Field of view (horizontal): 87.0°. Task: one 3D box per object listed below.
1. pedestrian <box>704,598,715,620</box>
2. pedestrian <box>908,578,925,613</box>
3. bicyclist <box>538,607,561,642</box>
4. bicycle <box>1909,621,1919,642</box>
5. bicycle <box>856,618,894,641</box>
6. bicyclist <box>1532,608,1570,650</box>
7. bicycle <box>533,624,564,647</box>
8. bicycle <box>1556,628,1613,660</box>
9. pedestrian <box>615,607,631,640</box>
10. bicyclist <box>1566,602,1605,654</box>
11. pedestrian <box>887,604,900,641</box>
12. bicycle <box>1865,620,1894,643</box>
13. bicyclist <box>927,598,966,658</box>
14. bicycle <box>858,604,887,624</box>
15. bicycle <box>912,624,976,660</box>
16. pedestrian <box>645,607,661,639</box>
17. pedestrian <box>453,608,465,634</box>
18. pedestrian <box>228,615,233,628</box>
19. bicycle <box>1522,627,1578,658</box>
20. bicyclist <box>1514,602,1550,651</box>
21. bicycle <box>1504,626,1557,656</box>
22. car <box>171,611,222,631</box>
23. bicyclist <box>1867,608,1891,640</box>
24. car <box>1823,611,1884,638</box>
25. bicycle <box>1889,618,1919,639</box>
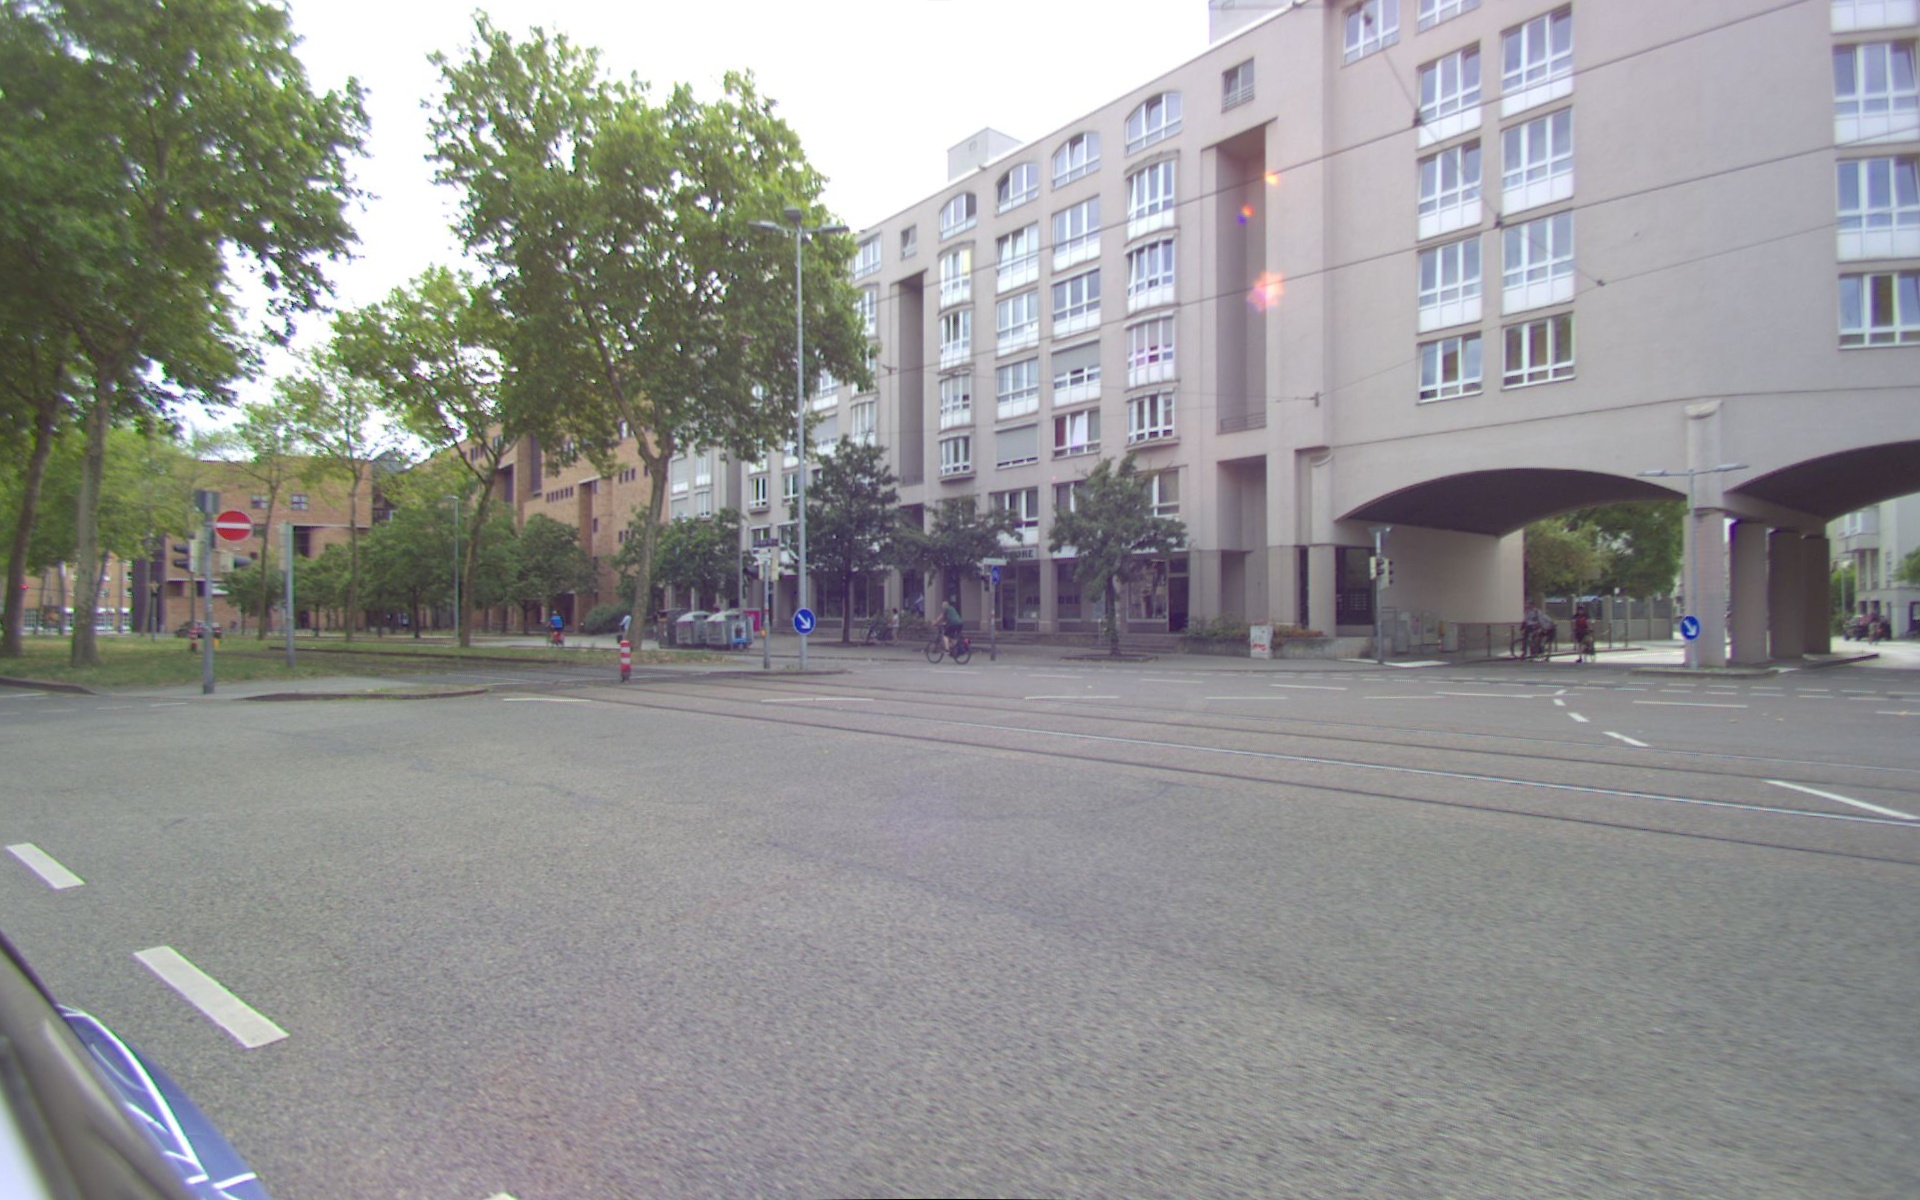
[{"bbox_3d":[-15.436,0.568,62.330,0.451,1.333,0.555,0,-1,-40],"label":"pedestrian"},{"bbox_3d":[-2.031,-0.204,47.344,0.563,1.618,0.549,0,-1,-42],"label":"pedestrian"},{"bbox_3d":[-20.097,1.210,49.529,0.953,1.685,0.682,-1,-1,42],"label":"bicyclist"},{"bbox_3d":[50.287,1.619,52.023,2.098,1.056,0.630,0,-1,30],"label":"bicycle"},{"bbox_3d":[-3.549,1.230,42.181,1.607,0.950,0.441,0,-1,-39],"label":"bicycle"},{"bbox_3d":[18.717,0.901,32.060,0.868,1.314,0.769,0,-1,-38],"label":"bicyclist"},{"bbox_3d":[-20.199,1.733,49.632,1.877,1.100,0.683,-1,-1,43],"label":"bicycle"},{"bbox_3d":[19.077,1.320,30.891,2.151,0.918,0.767,0,-1,-38],"label":"bicycle"},{"bbox_3d":[-17.456,1.225,52.384,0.626,1.718,0.546,-1,-1,43],"label":"pedestrian"},{"bbox_3d":[19.117,0.852,30.928,0.868,1.551,0.769,0,-1,-38],"label":"bicyclist"},{"bbox_3d":[-2.755,0.935,41.904,0.525,1.542,0.515,0,-1,-4],"label":"pedestrian"},{"bbox_3d":[44.530,1.519,49.033,0.711,1.056,2.083,-1,-1,33],"label":"bicycle"},{"bbox_3d":[-0.416,0.874,31.859,1.081,1.862,0.659,-1,-2,43],"label":"bicyclist"},{"bbox_3d":[-4.151,0.677,48.040,0.434,0.950,1.634,0,-1,-43],"label":"bicycle"},{"bbox_3d":[-0.527,1.317,31.952,2.209,1.101,0.670,-1,-2,44],"label":"bicycle"},{"bbox_3d":[-16.408,1.227,54.068,0.626,1.718,0.546,0,-1,43],"label":"pedestrian"},{"bbox_3d":[-32.993,1.401,66.675,0.626,1.718,0.546,-1,-1,43],"label":"pedestrian"},{"bbox_3d":[-84.678,2.529,117.483,0.500,1.543,0.521,0,-2,-36],"label":"pedestrian"},{"bbox_3d":[18.674,1.329,32.018,2.151,0.918,0.767,0,-1,-38],"label":"bicycle"},{"bbox_3d":[19.122,0.875,33.837,0.868,1.626,0.769,0,-1,-38],"label":"bicyclist"},{"bbox_3d":[19.052,1.354,33.790,2.151,0.918,0.767,0,-1,-38],"label":"bicycle"},{"bbox_3d":[-51.548,1.416,68.300,4.528,1.254,1.713,-1,-1,38],"label":"car"},{"bbox_3d":[44.522,1.174,49.034,0.703,1.537,0.937,-1,-1,33],"label":"bicyclist"},{"bbox_3d":[53.383,1.430,60.546,1.699,1.575,3.965,0,-1,25],"label":"car"},{"bbox_3d":[50.687,1.510,53.559,2.097,1.056,0.659,0,-1,28],"label":"bicycle"}]
